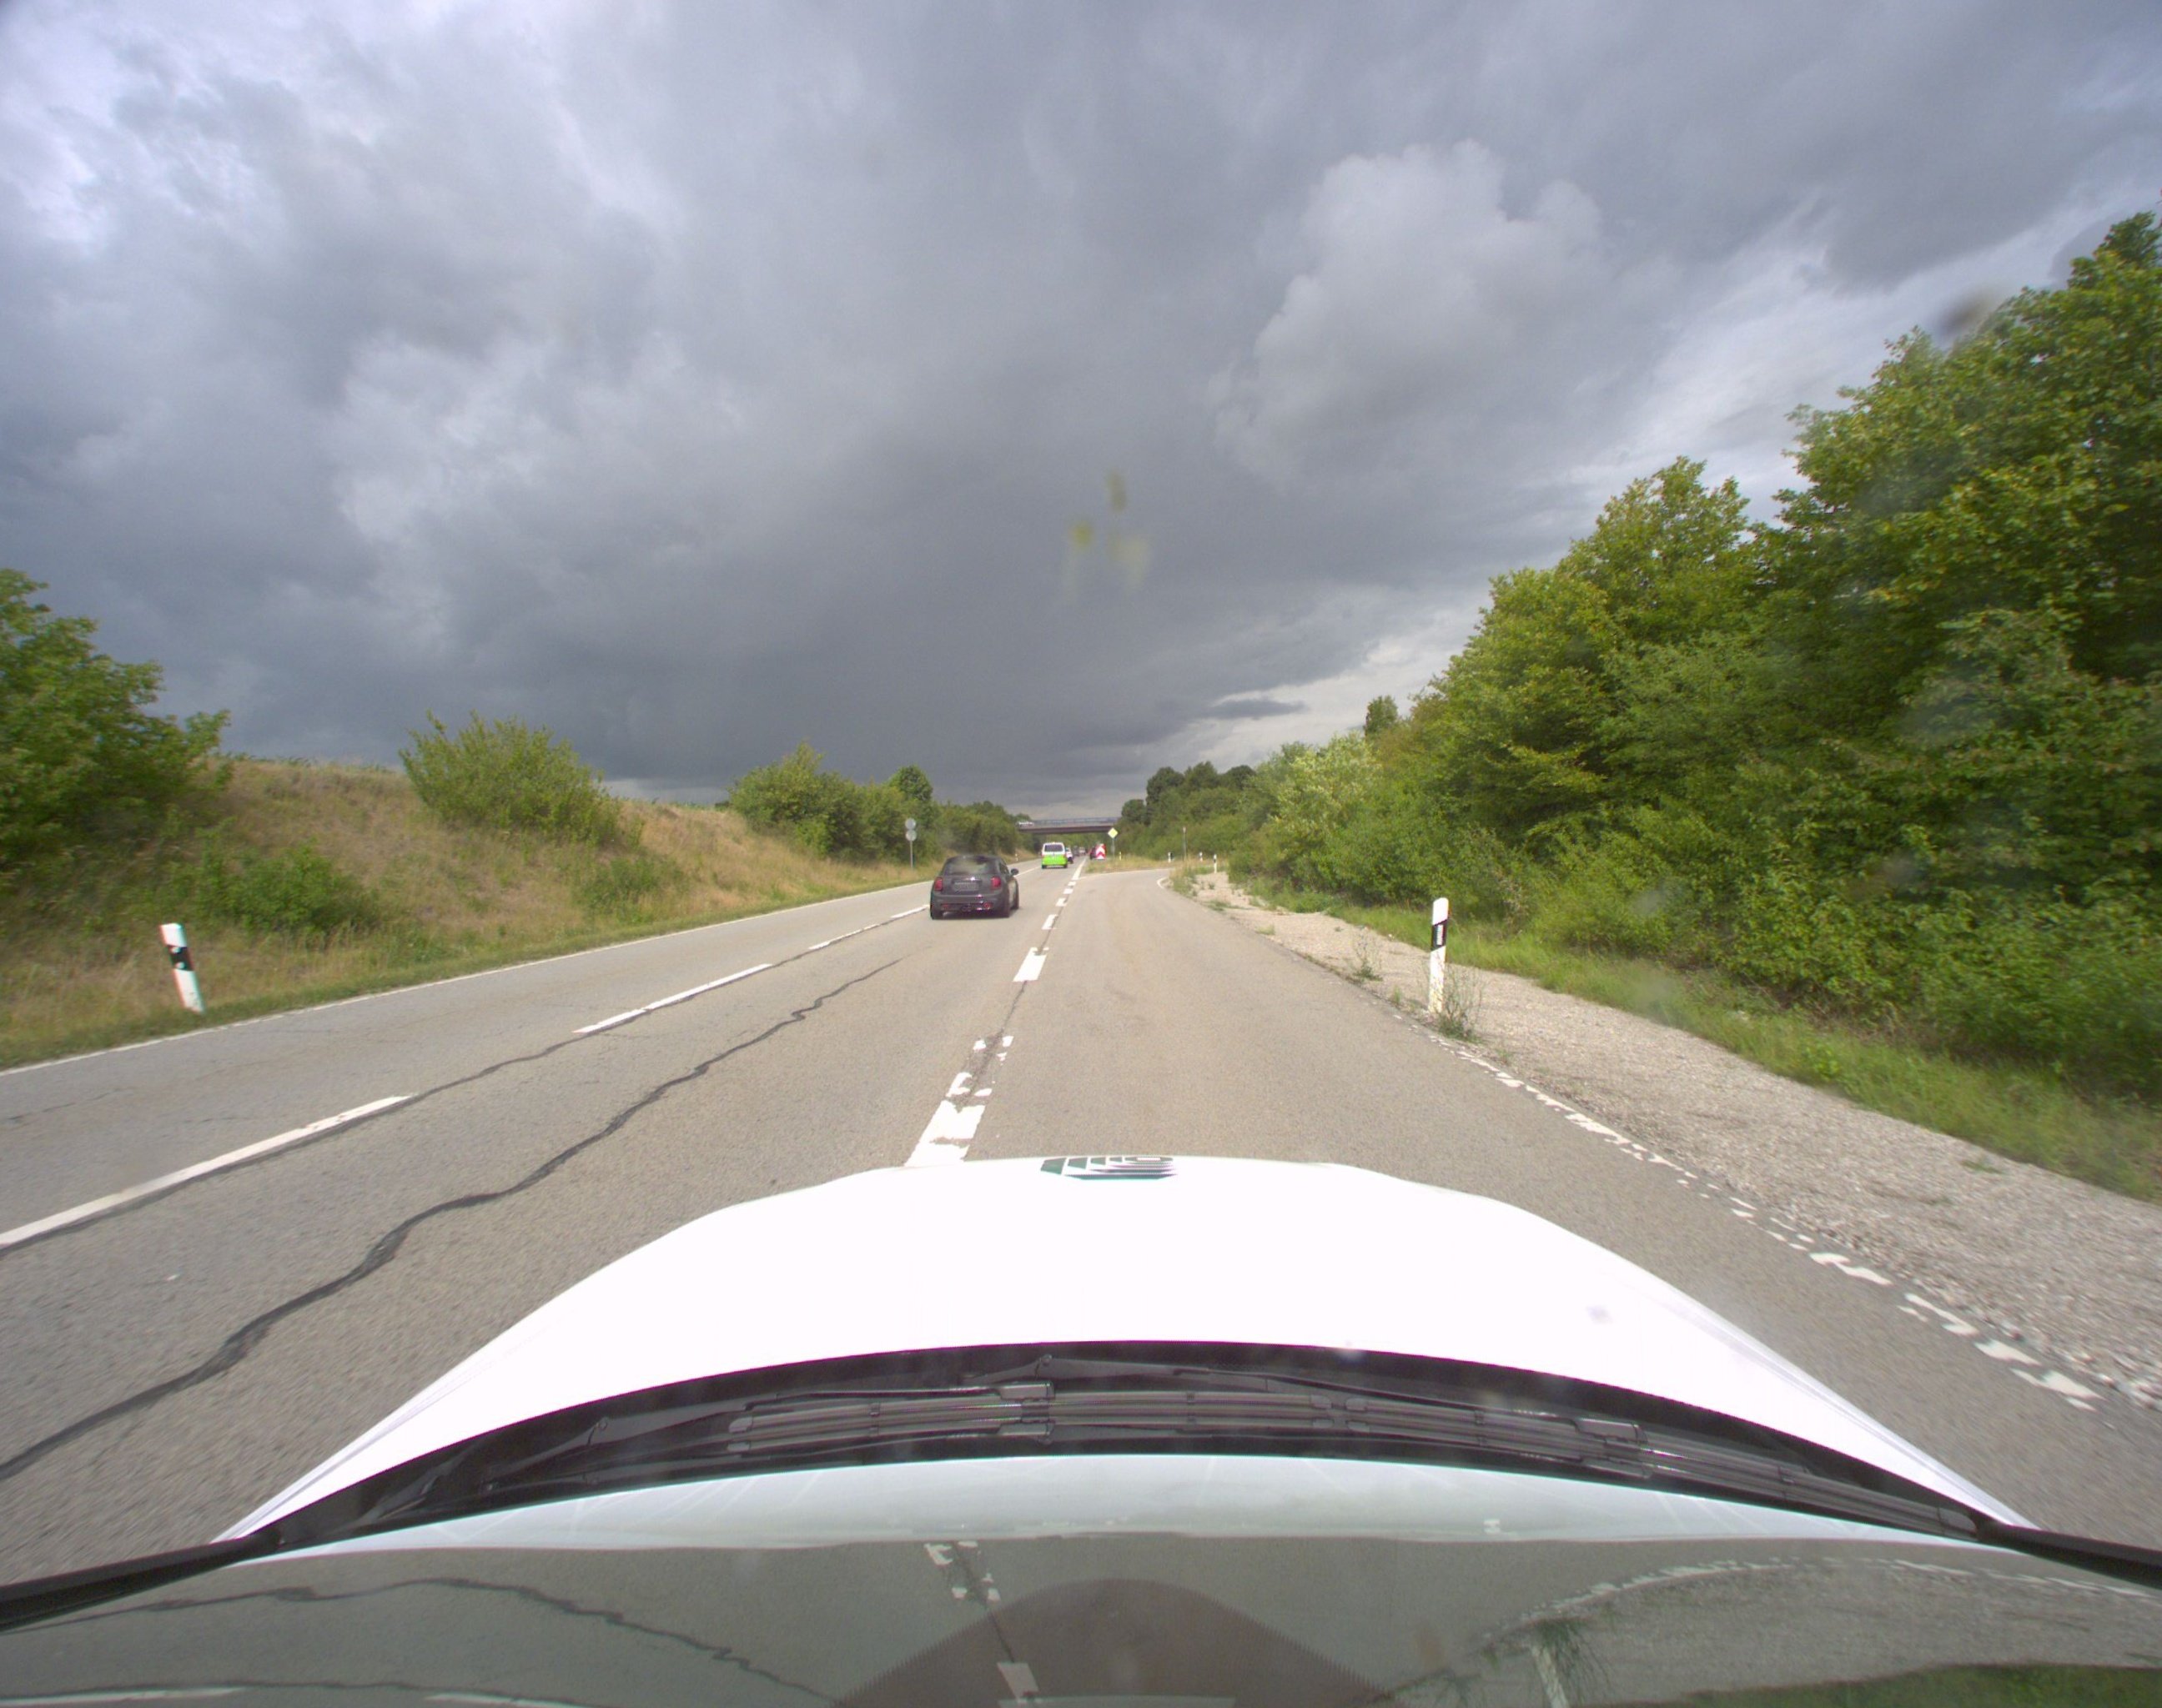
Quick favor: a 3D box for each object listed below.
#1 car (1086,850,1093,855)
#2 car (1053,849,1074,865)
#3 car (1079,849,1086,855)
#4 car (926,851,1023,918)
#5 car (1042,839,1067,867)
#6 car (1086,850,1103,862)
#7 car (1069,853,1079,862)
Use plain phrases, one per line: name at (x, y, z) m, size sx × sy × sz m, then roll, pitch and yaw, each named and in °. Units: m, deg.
car at (2.380, -0.433, 221.984) m, size 1.660 × 1.403 × 4.004 m, roll -1°, pitch 0°, yaw 3°
car at (-1.696, 0.308, 81.236) m, size 1.987 × 1.552 × 4.000 m, roll 0°, pitch 0°, yaw 0°
car at (0.393, -0.515, 198.640) m, size 1.661 × 1.403 × 4.001 m, roll -1°, pitch 0°, yaw 1°
car at (-2.414, 0.642, 19.431) m, size 1.751 × 1.427 × 4.000 m, roll 0°, pitch 0°, yaw 0°
car at (-2.006, -0.104, 62.603) m, size 1.813 × 2.054 × 4.000 m, roll 0°, pitch 0°, yaw 0°
car at (1.721, 0.243, 106.194) m, size 1.988 × 1.552 × 3.998 m, roll 0°, pitch 0°, yaw -2°
car at (-1.211, 0.627, 145.295) m, size 1.661 × 1.403 × 4.000 m, roll -1°, pitch 0°, yaw 1°
